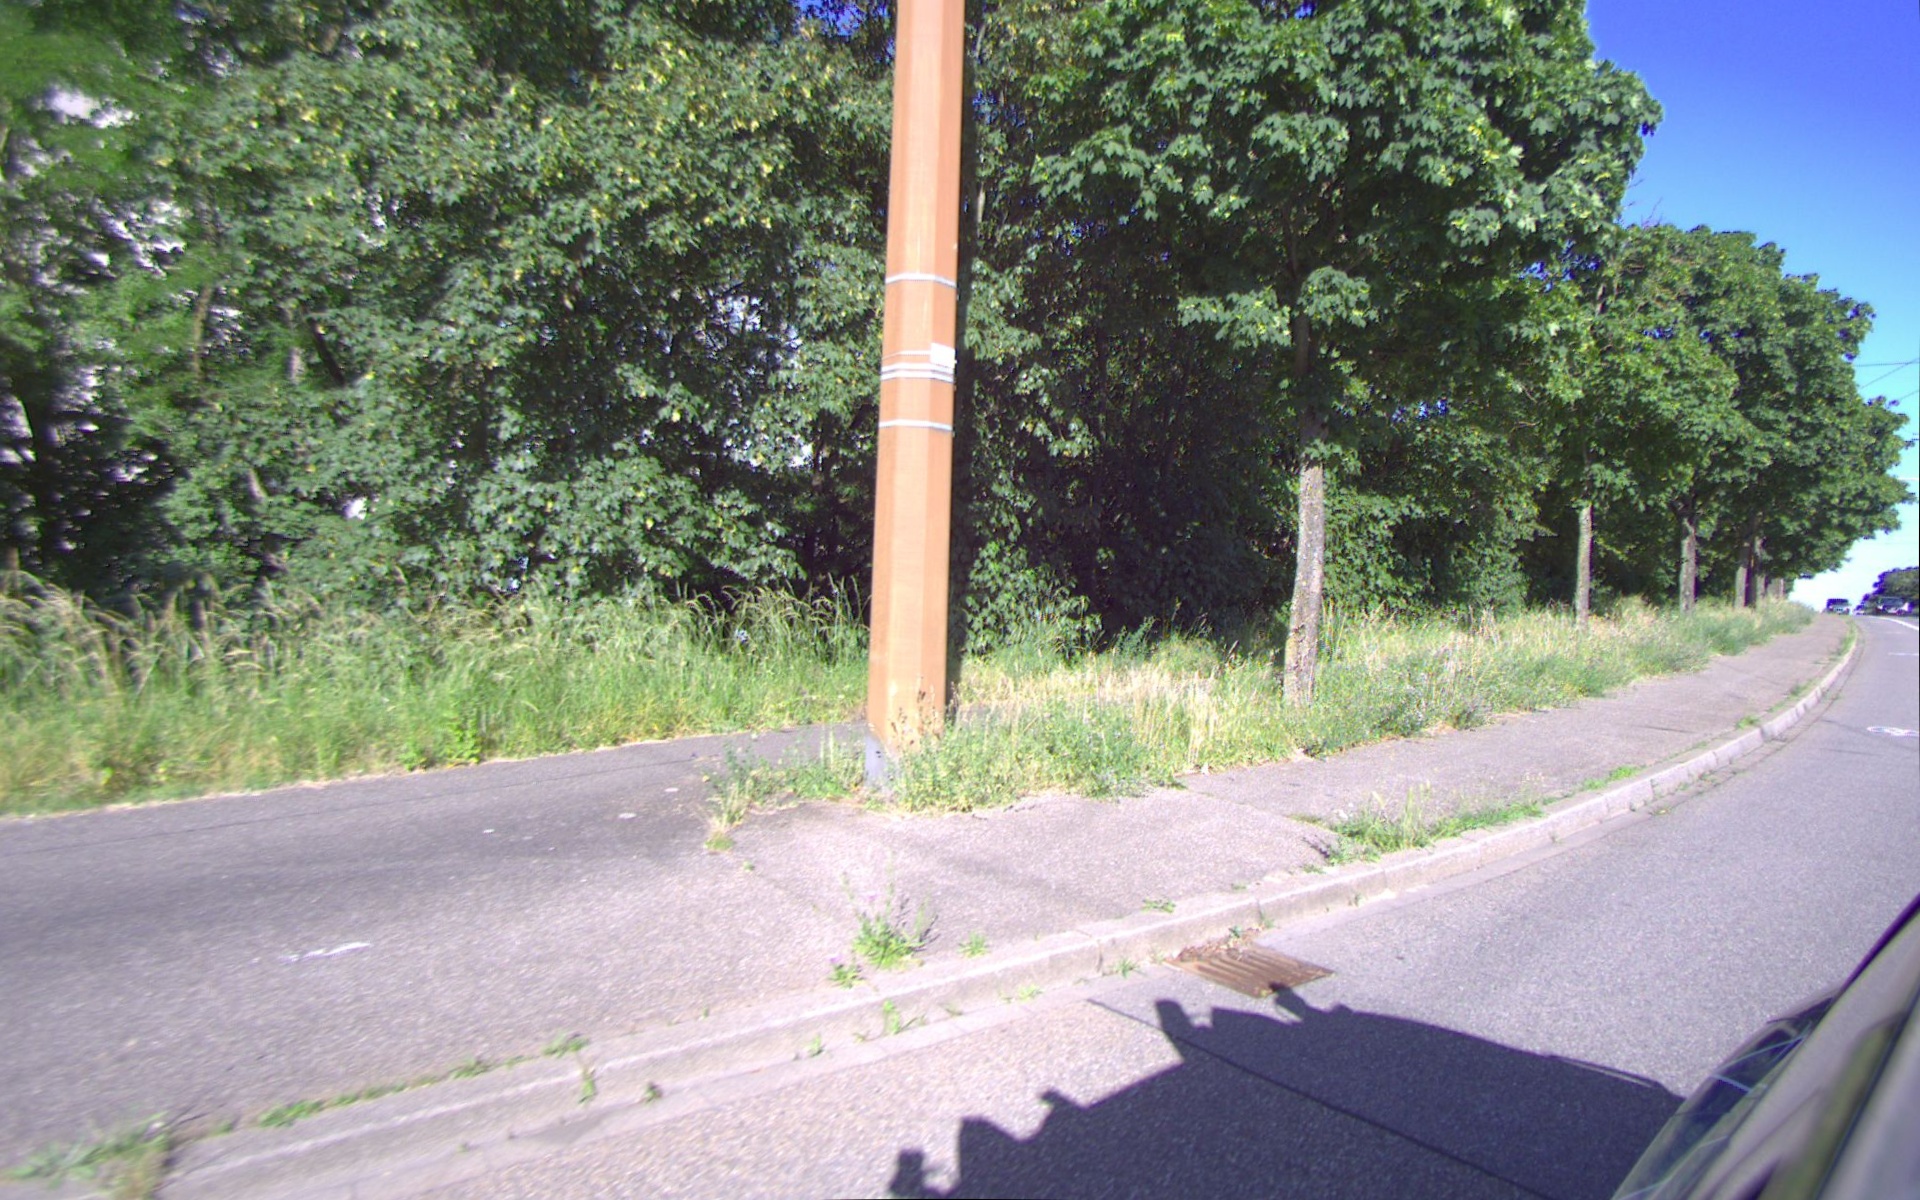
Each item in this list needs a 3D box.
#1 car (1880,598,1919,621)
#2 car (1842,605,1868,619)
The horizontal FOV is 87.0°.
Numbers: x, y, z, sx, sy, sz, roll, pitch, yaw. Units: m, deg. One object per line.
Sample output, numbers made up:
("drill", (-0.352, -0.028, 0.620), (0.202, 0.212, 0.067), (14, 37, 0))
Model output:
("car", (69.326, 0.690, 74.541), (1.990, 1.606, 3.944), (1, 0, 39))
("car", (111.880, 1.515, 126.581), (1.987, 1.606, 3.949), (1, 0, 35))
